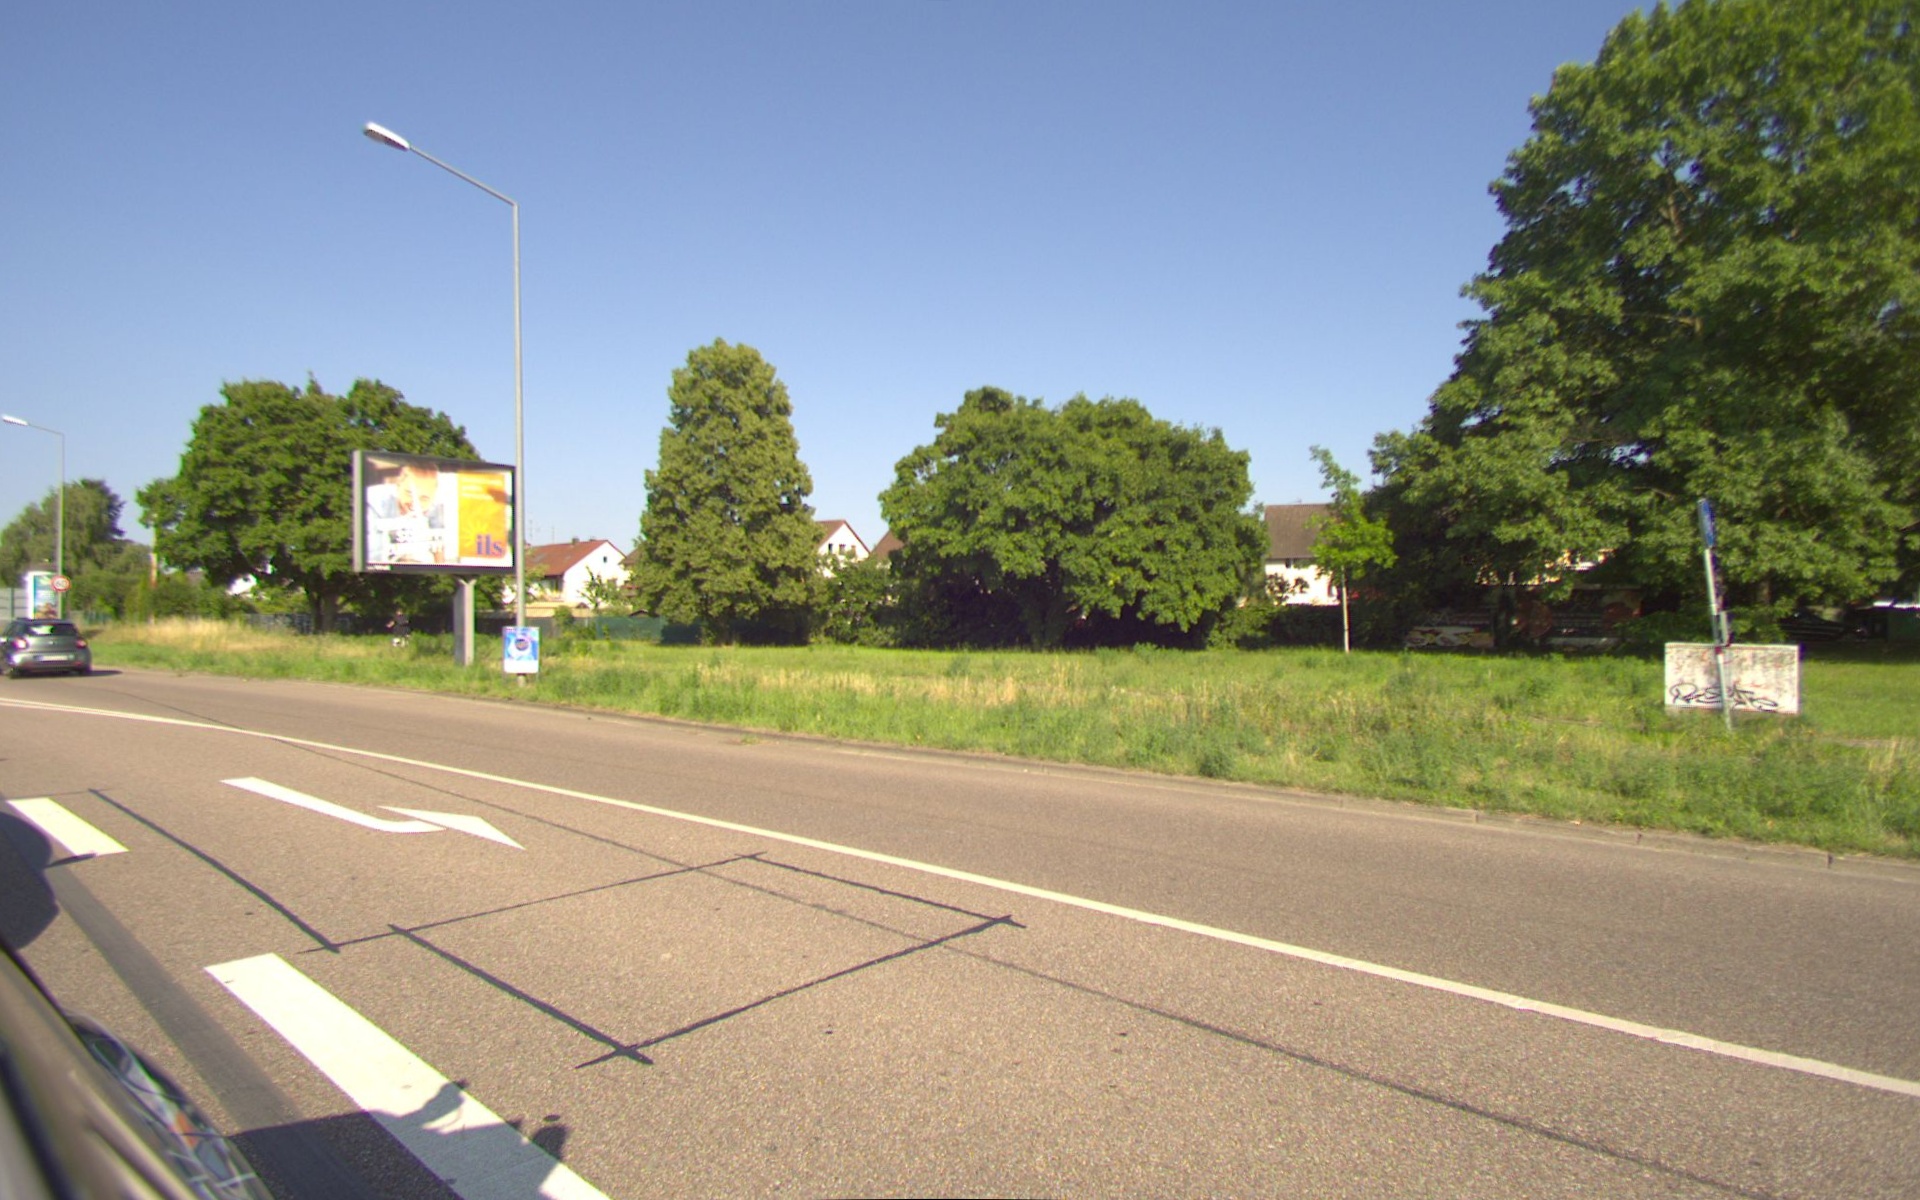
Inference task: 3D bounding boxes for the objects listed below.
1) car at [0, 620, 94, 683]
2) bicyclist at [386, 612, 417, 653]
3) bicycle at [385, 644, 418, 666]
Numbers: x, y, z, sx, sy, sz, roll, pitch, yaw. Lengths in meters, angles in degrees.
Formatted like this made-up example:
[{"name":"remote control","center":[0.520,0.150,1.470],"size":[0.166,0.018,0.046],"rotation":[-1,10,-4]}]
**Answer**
[{"name":"car","center":[-24.624,1.321,26.999],"size":[3.671,1.572,1.617],"rotation":[-1,-2,38]},{"name":"bicyclist","center":[-20.049,1.172,36.333],"size":[1.071,1.439,0.630],"rotation":[-1,-1,41]},{"name":"bicycle","center":[-20.065,1.968,36.320],"size":[1.833,0.759,0.449],"rotation":[-1,-1,42]}]
